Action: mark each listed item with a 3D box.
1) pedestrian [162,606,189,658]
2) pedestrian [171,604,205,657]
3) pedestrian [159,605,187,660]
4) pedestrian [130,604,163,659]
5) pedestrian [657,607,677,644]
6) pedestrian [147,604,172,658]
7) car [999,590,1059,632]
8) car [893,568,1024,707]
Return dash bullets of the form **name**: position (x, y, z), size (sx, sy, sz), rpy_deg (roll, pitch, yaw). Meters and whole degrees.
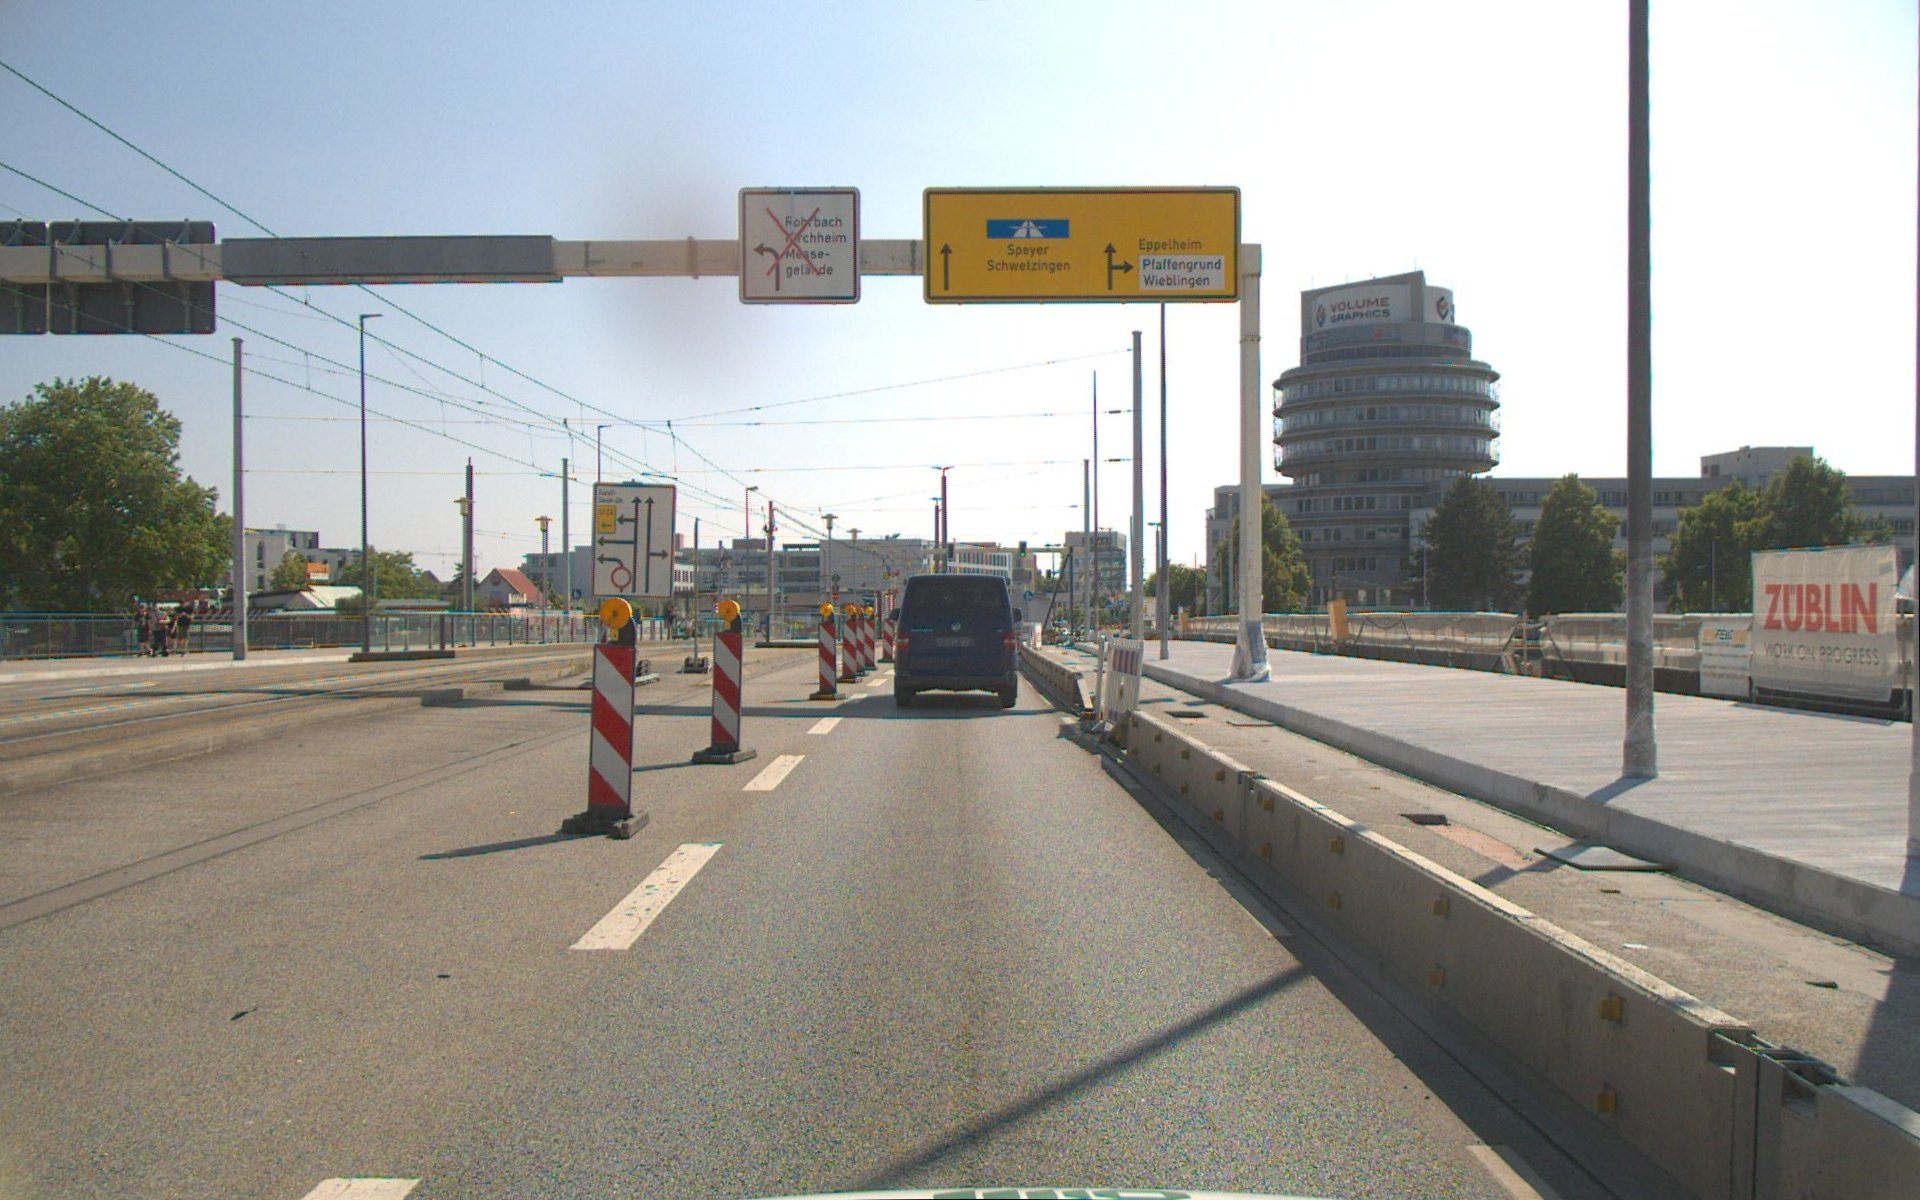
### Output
- **pedestrian**: position (-25.954, 1.049, 54.736), size (0.493, 1.716, 0.773), rpy_deg (-1, 0, 2)
- **pedestrian**: position (-25.019, 0.979, 53.587), size (0.737, 1.716, 0.732), rpy_deg (-1, 0, 2)
- **pedestrian**: position (-24.971, 1.025, 52.490), size (0.476, 1.716, 0.808), rpy_deg (-1, 0, 2)
- **pedestrian**: position (-25.607, 0.979, 52.074), size (0.585, 1.716, 0.818), rpy_deg (-1, 0, 2)
- **pedestrian**: position (-13.406, 1.169, 75.668), size (0.646, 1.683, 0.740), rpy_deg (-1, -1, 13)
- **pedestrian**: position (-25.649, 0.982, 52.985), size (0.375, 1.716, 0.770), rpy_deg (-1, 0, 2)
- **car**: position (4.968, 0.770, 118.700), size (2.292, 2.937, 5.968), rpy_deg (1, 0, 24)
- **car**: position (-0.074, 0.537, 25.866), size (1.850, 1.968, 3.999), rpy_deg (1, 0, -2)
